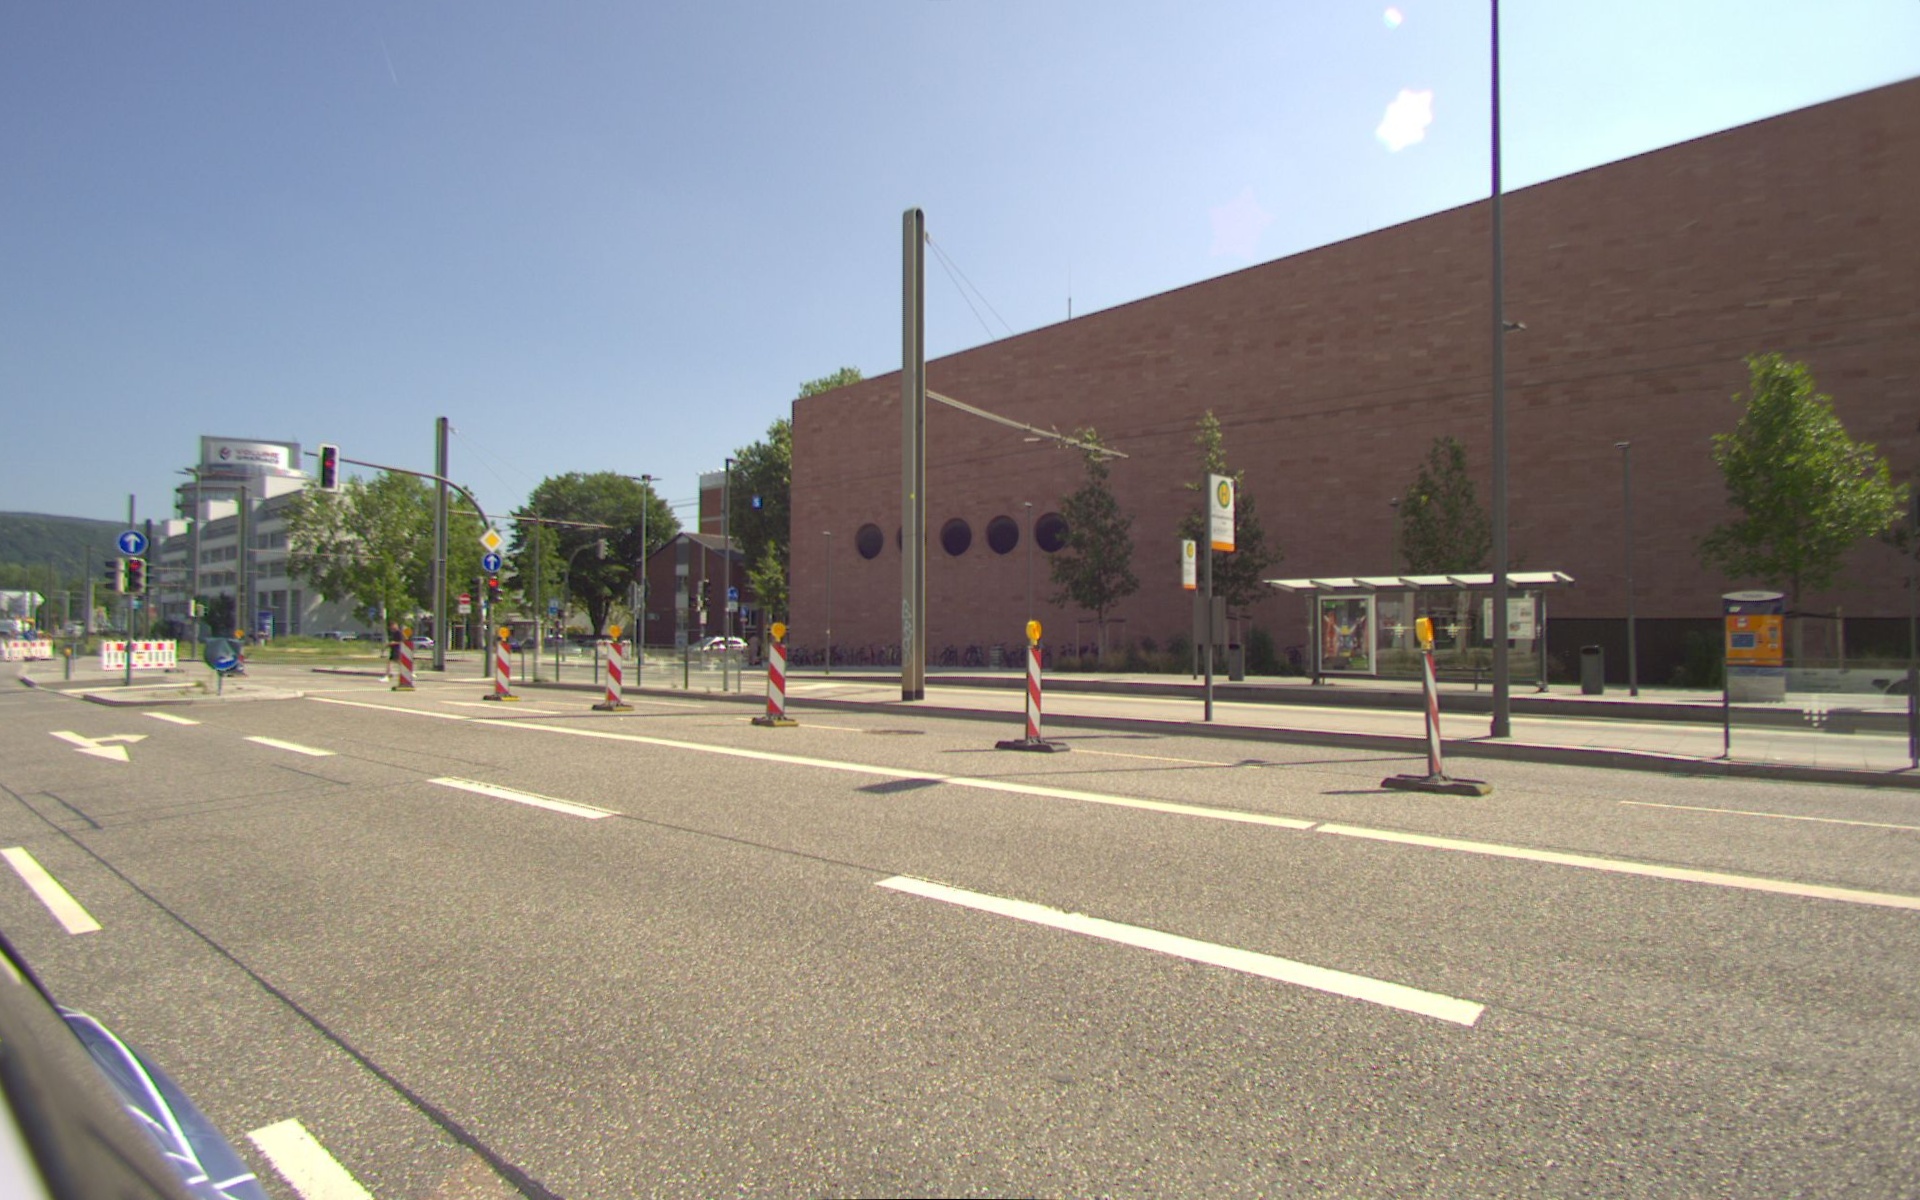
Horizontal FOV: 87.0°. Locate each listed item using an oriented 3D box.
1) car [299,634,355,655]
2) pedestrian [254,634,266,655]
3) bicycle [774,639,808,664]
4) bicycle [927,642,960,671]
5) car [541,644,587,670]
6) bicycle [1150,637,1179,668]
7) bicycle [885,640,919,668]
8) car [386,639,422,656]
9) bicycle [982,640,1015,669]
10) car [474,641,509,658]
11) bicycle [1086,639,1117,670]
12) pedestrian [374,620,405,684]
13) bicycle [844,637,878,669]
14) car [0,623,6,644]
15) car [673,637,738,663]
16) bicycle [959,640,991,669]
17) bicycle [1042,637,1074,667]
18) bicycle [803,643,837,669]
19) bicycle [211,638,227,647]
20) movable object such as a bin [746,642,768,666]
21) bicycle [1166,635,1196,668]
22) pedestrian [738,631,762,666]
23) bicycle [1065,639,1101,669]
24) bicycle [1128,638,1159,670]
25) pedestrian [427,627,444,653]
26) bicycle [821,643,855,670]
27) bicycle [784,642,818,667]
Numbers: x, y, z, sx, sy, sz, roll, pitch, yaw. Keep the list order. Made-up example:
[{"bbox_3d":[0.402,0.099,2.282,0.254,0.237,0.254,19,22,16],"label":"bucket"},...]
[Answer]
[{"bbox_3d":[-70.831,4.961,113.326,4.988,2.196,2.121,1,-2,-22],"label":"car"},{"bbox_3d":[-69.066,4.369,99.861,0.984,2.029,0.830,-2,-2,44],"label":"pedestrian"},{"bbox_3d":[-8.541,2.610,51.123,0.537,1.221,2.036,-1,-2,30],"label":"bicycle"},{"bbox_3d":[-0.725,2.575,46.344,0.537,1.221,2.036,-2,-2,30],"label":"bicycle"},{"bbox_3d":[-30.025,4.290,76.702,3.938,1.774,1.680,-1,-1,42],"label":"car"},{"bbox_3d":[8.299,2.099,41.010,0.537,1.221,2.036,-1,-2,30],"label":"bicycle"},{"bbox_3d":[-2.711,2.538,47.693,0.537,1.221,2.036,-2,-2,30],"label":"bicycle"},{"bbox_3d":[-54.915,4.681,99.905,3.630,1.603,1.752,-2,-1,36],"label":"car"},{"bbox_3d":[1.729,2.428,45.077,0.537,1.221,2.036,-2,-2,30],"label":"bicycle"},{"bbox_3d":[-48.009,5.053,103.632,3.630,1.603,1.752,-2,-1,36],"label":"car"},{"bbox_3d":[5.910,2.270,42.302,0.537,1.221,2.036,-2,-2,30],"label":"bicycle"},{"bbox_3d":[-16.848,1.517,29.900,0.645,1.847,0.661,0,-2,-45],"label":"pedestrian"},{"bbox_3d":[-4.743,2.518,48.574,0.537,1.464,2.036,-2,-2,30],"label":"bicycle"},{"bbox_3d":[-128.582,4.368,134.508,5.985,2.761,2.055,-1,-4,42],"label":"car"},{"bbox_3d":[-14.907,2.915,59.478,1.572,1.380,3.443,-2,-2,40],"label":"car"},{"bbox_3d":[0.691,2.427,45.494,0.537,1.221,2.036,-2,-2,30],"label":"bicycle"},{"bbox_3d":[4.135,2.180,42.647,0.537,1.221,2.036,-2,-2,30],"label":"bicycle"},{"bbox_3d":[-6.873,2.742,49.870,0.537,1.221,2.036,-2,-2,30],"label":"bicycle"},{"bbox_3d":[-102.401,5.916,139.846,0.438,1.198,1.629,-2,-1,41],"label":"bicycle"},{"bbox_3d":[-9.331,2.478,46.478,0.785,1.039,0.713,-1,-2,10],"label":"movable object such as a bin"},{"bbox_3d":[8.587,1.969,39.264,0.537,1.221,2.036,-2,-2,30],"label":"bicycle"},{"bbox_3d":[-9.482,2.189,45.657,0.785,1.574,0.929,-1,-2,10],"label":"pedestrian"},{"bbox_3d":[5.215,2.258,42.688,0.745,1.221,1.868,-2,-2,34],"label":"bicycle"},{"bbox_3d":[7.492,2.181,41.262,0.537,1.221,2.036,-2,-2,30],"label":"bicycle"},{"bbox_3d":[-37.578,2.845,72.501,0.802,1.861,1.108,1,-2,-43],"label":"pedestrian"},{"bbox_3d":[-5.923,2.730,49.267,0.537,1.221,2.036,-2,-2,31],"label":"bicycle"},{"bbox_3d":[-7.950,2.725,50.674,0.537,1.221,2.036,-1,-2,30],"label":"bicycle"}]
